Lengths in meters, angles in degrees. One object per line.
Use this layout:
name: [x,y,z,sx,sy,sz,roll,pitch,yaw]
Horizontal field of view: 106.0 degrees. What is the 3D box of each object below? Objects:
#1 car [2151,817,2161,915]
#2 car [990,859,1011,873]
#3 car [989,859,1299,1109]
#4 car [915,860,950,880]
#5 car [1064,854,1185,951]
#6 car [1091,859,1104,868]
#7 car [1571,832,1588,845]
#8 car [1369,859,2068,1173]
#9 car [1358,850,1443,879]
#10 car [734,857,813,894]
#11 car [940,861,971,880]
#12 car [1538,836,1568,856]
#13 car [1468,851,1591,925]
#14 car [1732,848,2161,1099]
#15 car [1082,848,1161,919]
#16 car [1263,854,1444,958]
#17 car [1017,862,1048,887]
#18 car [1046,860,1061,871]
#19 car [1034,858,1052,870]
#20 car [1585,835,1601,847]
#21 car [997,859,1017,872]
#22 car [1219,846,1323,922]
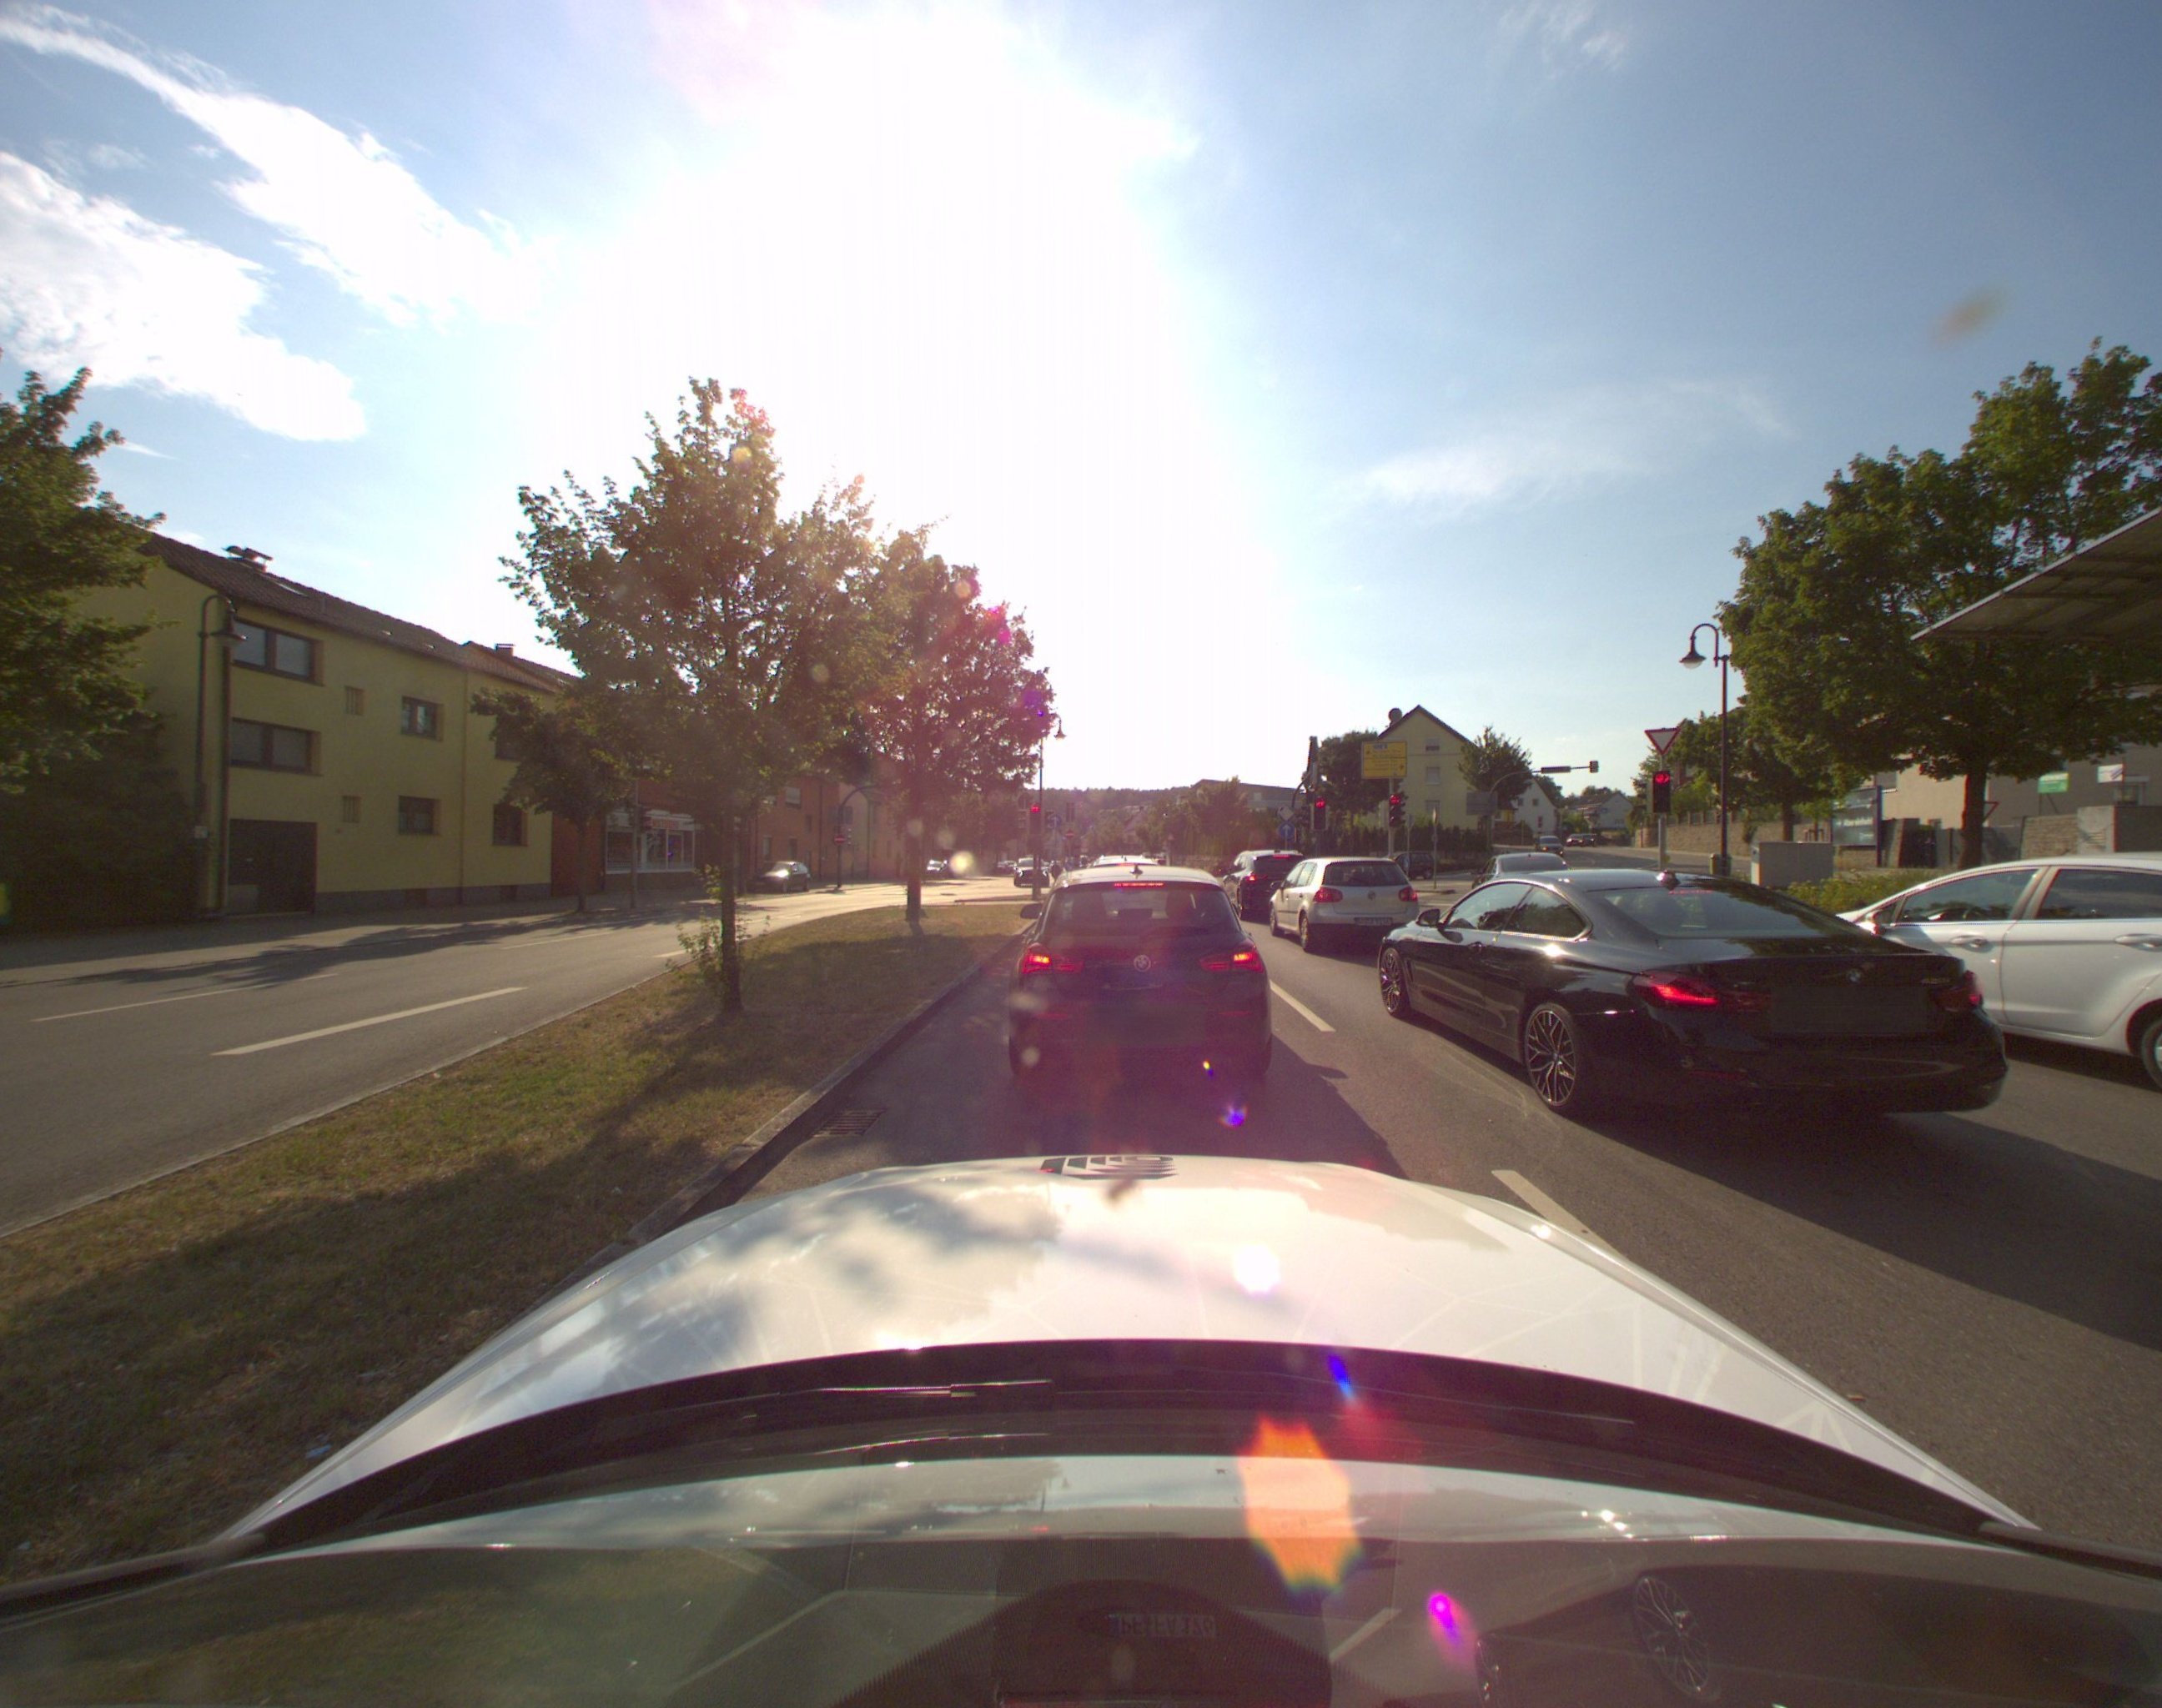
car: [19.540,0.188,12.207,3.958,1.608,1.861,0,0,14]
car: [-9.613,1.385,97.723,1.916,1.596,4.004,0,0,4]
car: [0.490,0.771,6.901,1.783,1.414,4.351,-1,0,3]
car: [-12.271,1.320,67.639,1.916,1.596,4.004,0,0,4]
car: [0.780,0.734,14.331,1.808,1.451,4.245,-1,0,3]
car: [2.842,1.525,138.898,1.858,1.485,4.652,0,0,-4]
car: [62.229,-1.896,101.586,1.759,1.580,4.025,-1,0,32]
car: [3.638,0.745,5.860,1.808,1.388,4.351,-1,0,3]
car: [17.421,0.574,44.492,4.061,1.507,1.783,0,0,-14]
car: [-14.260,0.966,38.048,1.834,1.552,4.005,2,0,5]
car: [-11.348,1.485,73.803,1.916,1.596,4.004,0,0,4]
car: [35.006,-0.596,60.525,1.695,1.244,4.025,-1,2,27]
car: [9.872,0.662,18.269,1.667,1.435,4.612,-1,0,19]
car: [7.188,0.688,5.982,1.721,1.450,4.072,-1,0,3]
car: [1.074,0.698,21.069,1.808,1.641,4.245,-1,0,3]
car: [4.336,0.740,13.673,1.808,1.446,4.351,-1,0,3]
car: [-2.820,1.156,47.019,1.690,1.353,3.993,0,0,-5]
car: [-4.313,1.748,127.162,1.916,1.596,4.004,0,0,4]
car: [-5.214,1.382,112.366,1.916,1.596,4.004,0,0,4]
car: [75.625,-1.909,120.313,1.759,1.580,4.025,-1,0,35]
car: [-9.305,1.393,103.225,1.916,1.596,4.004,0,0,4]
car: [4.590,0.665,20.271,1.808,1.666,4.351,-1,0,3]
